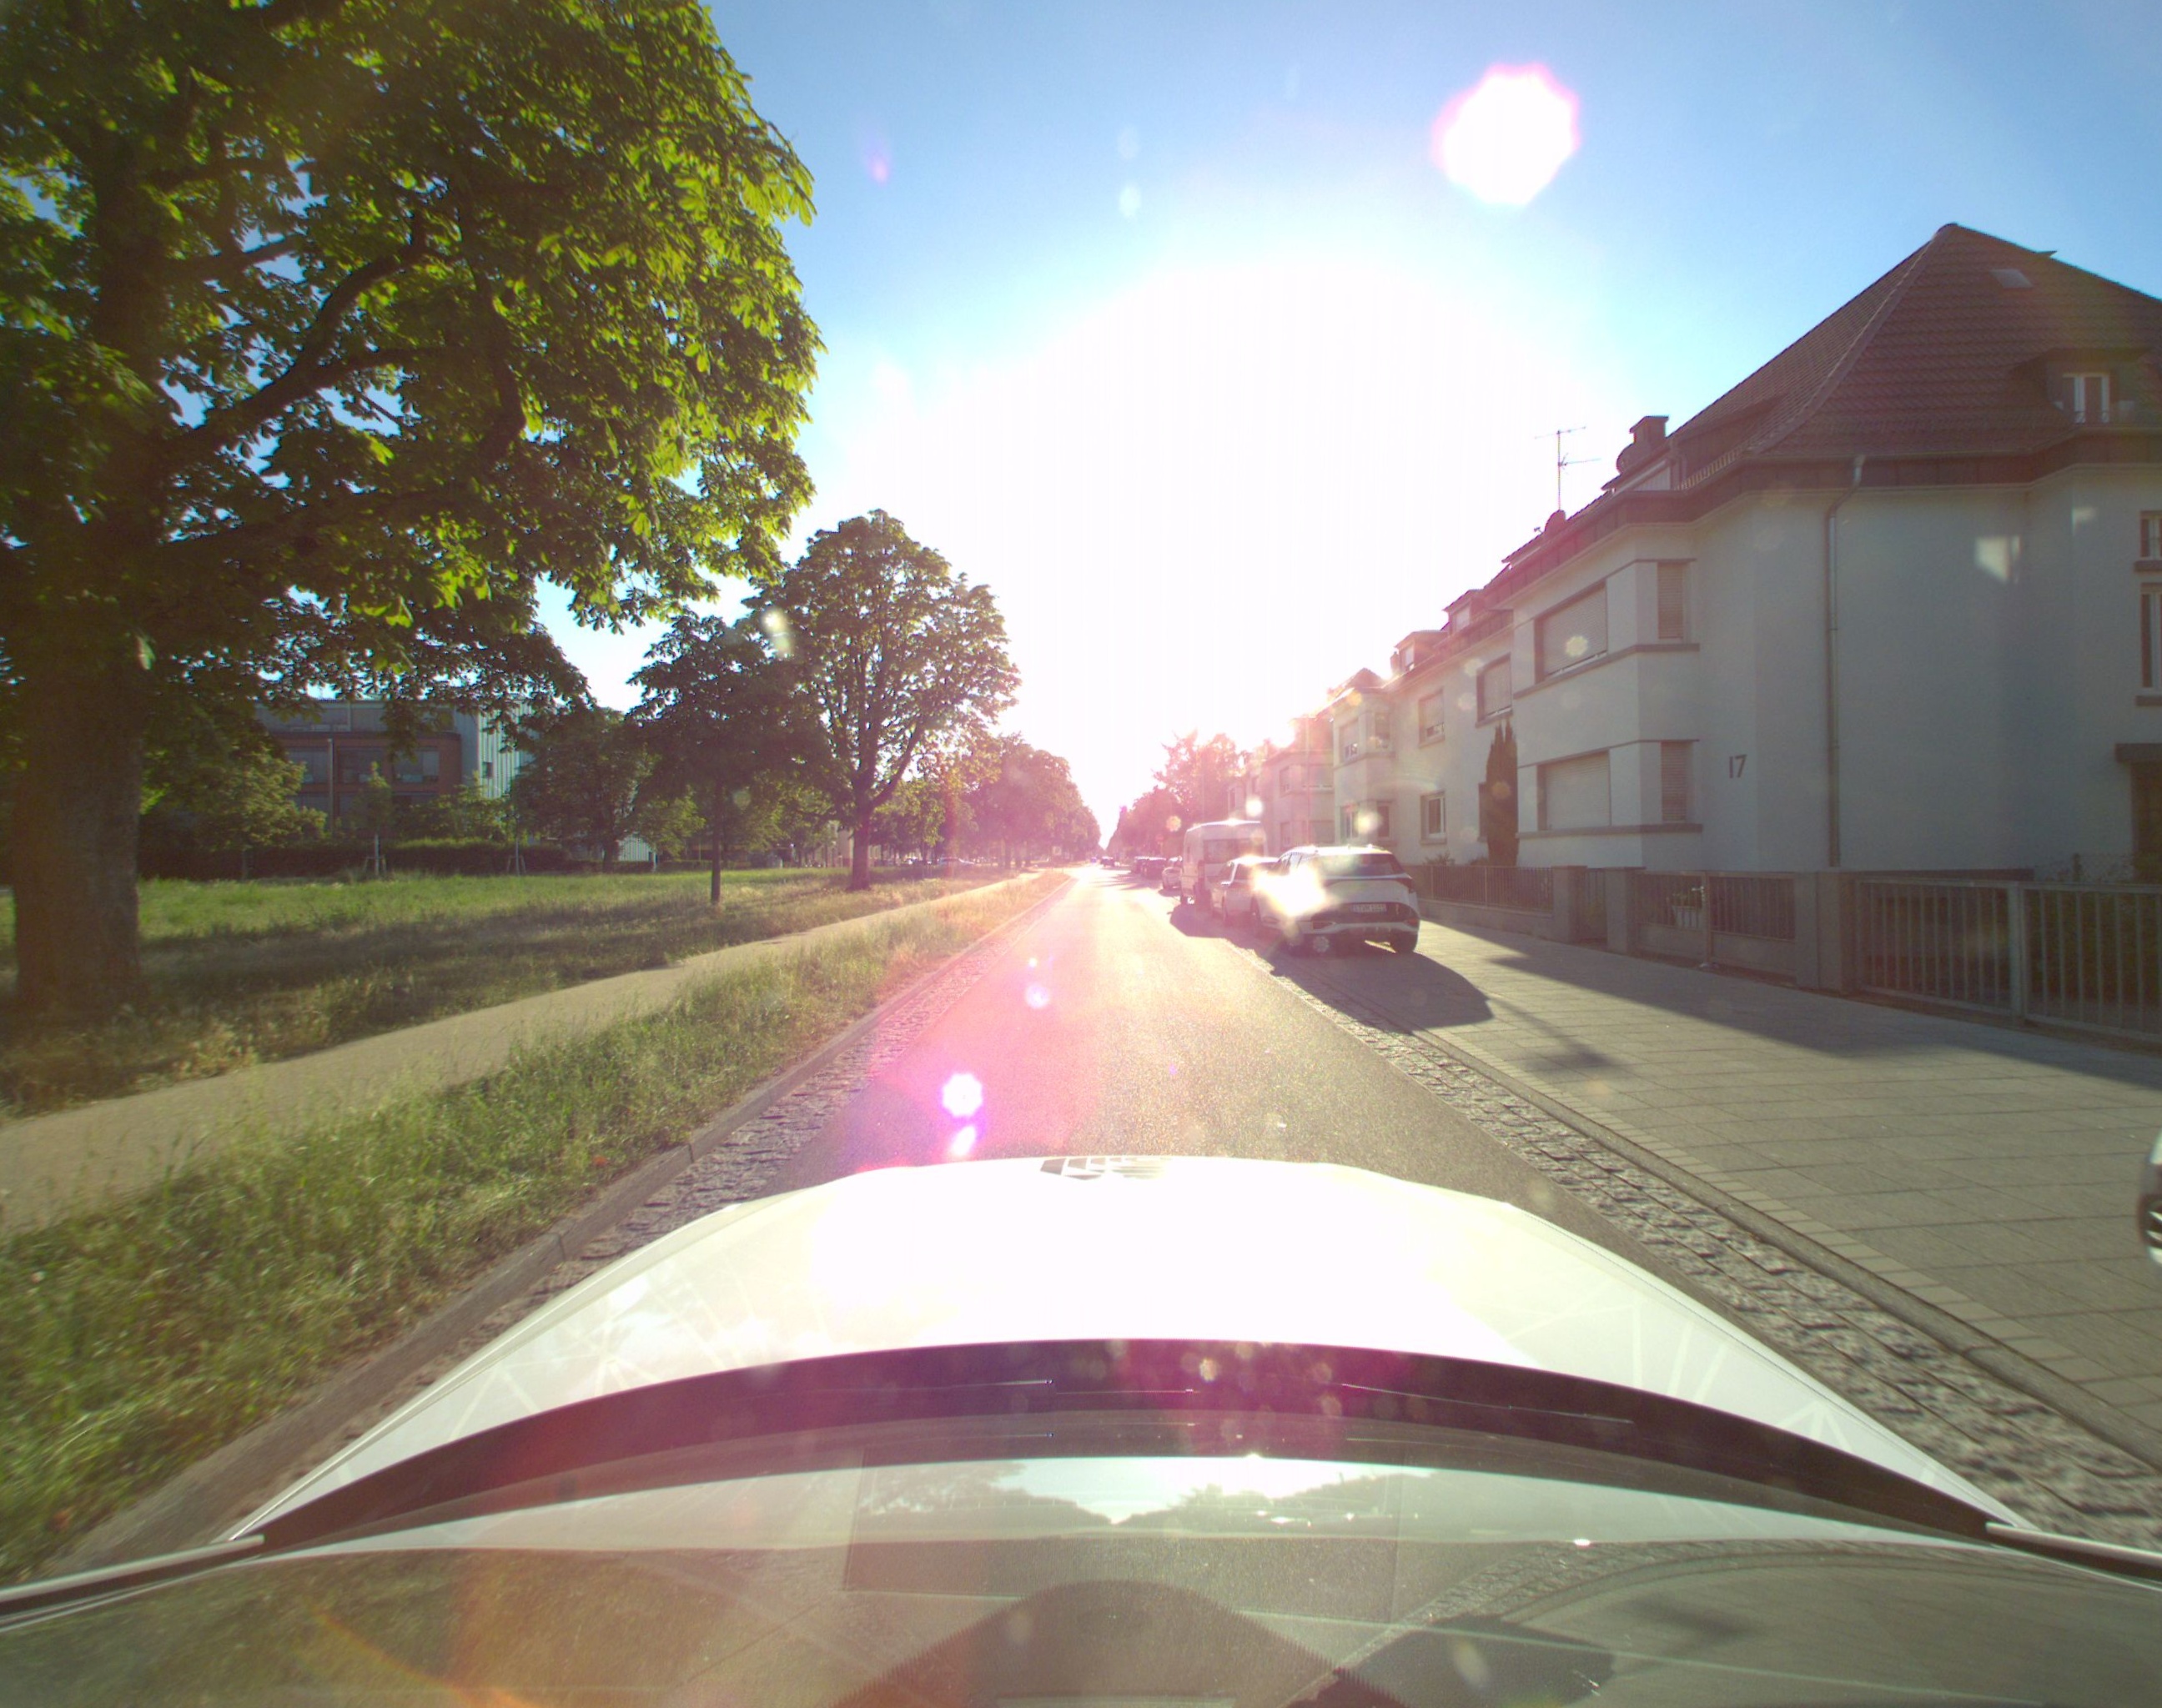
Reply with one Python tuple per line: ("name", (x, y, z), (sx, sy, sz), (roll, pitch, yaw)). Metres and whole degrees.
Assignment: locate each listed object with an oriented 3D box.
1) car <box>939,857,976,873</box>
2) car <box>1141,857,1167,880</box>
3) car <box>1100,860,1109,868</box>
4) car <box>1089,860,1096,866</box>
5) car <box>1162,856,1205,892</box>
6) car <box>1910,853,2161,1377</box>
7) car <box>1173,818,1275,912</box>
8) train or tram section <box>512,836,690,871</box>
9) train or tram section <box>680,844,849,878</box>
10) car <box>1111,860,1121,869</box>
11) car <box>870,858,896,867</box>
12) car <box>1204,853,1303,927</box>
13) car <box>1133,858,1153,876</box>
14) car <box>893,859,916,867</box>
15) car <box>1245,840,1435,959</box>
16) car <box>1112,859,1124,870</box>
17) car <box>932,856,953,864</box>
("car", (-14.909, 1.332, 98.323), (4.342, 1.764, 1.995), (1, -1, -7))
("car", (5.080, 0.973, 56.843), (1.643, 1.530, 3.853), (-1, 0, 3))
("car", (4.744, 1.976, 164.872), (1.643, 1.530, 3.853), (-1, 0, 3))
("car", (3.175, 2.526, 231.889), (1.803, 1.530, 3.853), (-1, 0, 3))
("car", (4.653, 0.865, 37.528), (1.643, 1.530, 3.853), (-1, 0, 3))
("car", (3.713, 0.674, 0.866), (1.615, 1.411, 3.970), (-4, -1, 2))
("car", (4.212, 0.308, 24.866), (2.120, 2.533, 5.187), (-1, 0, 0))
("train or tram section", (-59.482, -0.044, 101.587), (19.059, 3.956, 3.633), (1, -1, -8))
("train or tram section", (-40.204, 0.893, 104.462), (19.772, 3.956, 3.633), (1, -1, -9))
("car", (6.270, 1.890, 145.024), (1.643, 1.530, 3.853), (-1, 0, 3))
("car", (-37.421, 1.607, 153.989), (4.329, 1.764, 2.001), (1, -1, 2))
("car", (3.935, 0.770, 19.088), (1.643, 1.530, 3.853), (-1, 0, 3))
("car", (5.596, 1.133, 73.619), (1.643, 1.530, 3.853), (-1, 0, 3))
("car", (-37.526, 1.891, 173.496), (4.329, 1.764, 2.001), (1, -1, 2))
("car", (4.083, 0.649, 13.579), (1.831, 1.636, 4.131), (-1, 0, 0))
("car", (5.090, 1.428, 112.610), (1.643, 1.530, 3.853), (-1, 0, 3))
("car", (-31.821, 1.495, 187.035), (4.329, 1.764, 2.001), (1, -1, 2))
